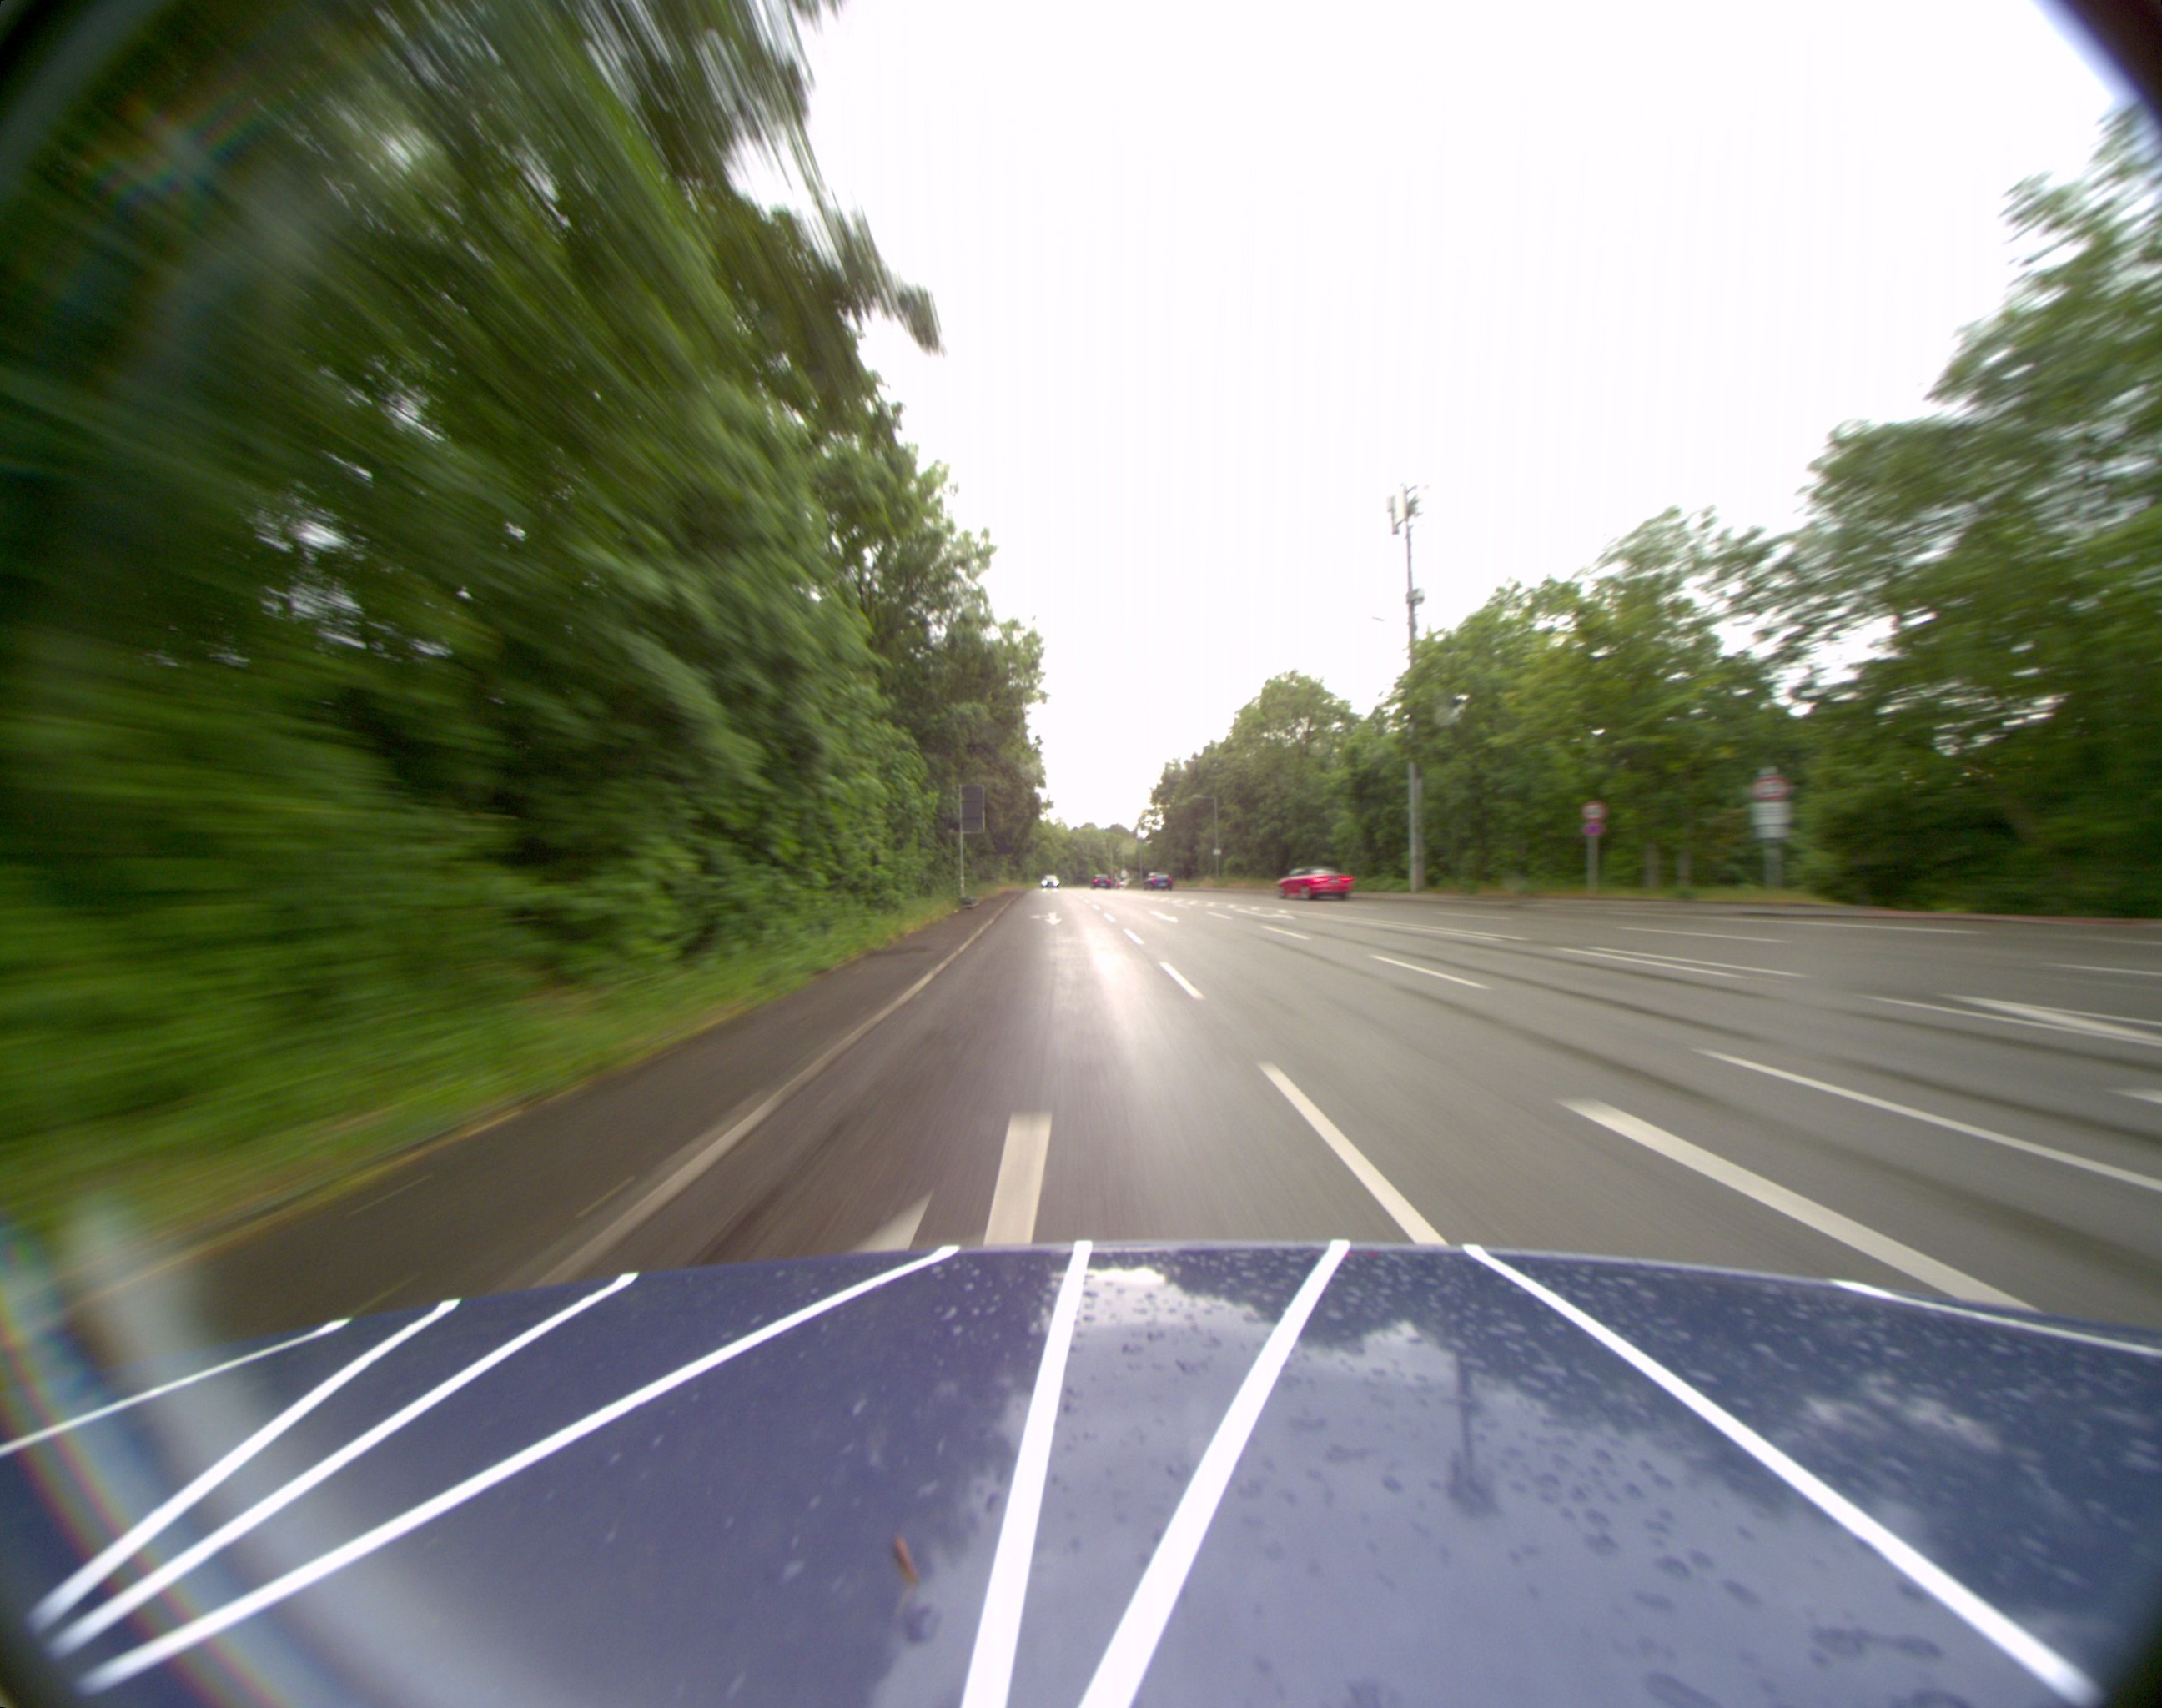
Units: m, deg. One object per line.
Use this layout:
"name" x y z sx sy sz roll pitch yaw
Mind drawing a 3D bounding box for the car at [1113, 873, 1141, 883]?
"car" 8.060 4.200 133.322 4.752 1.706 1.895 -1 -1 2

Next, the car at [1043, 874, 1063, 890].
"car" -2.949 2.915 78.751 1.999 1.576 3.999 1 -1 -4

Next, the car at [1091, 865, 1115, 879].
"car" 2.211 1.828 77.414 1.706 1.418 4.076 0 -1 -8

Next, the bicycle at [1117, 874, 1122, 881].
"bicycle" 5.602 3.462 111.117 0.453 0.997 2.018 -2 -2 -2

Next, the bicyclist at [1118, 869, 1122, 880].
"bicyclist" 5.738 3.022 111.353 0.580 1.576 0.700 1 -1 -2

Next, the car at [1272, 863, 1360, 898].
"car" 9.850 1.089 32.187 1.881 1.366 4.382 -1 -1 -7

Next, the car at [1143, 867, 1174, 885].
"car" 6.241 1.793 61.508 1.636 1.386 3.998 -1 -1 -7
